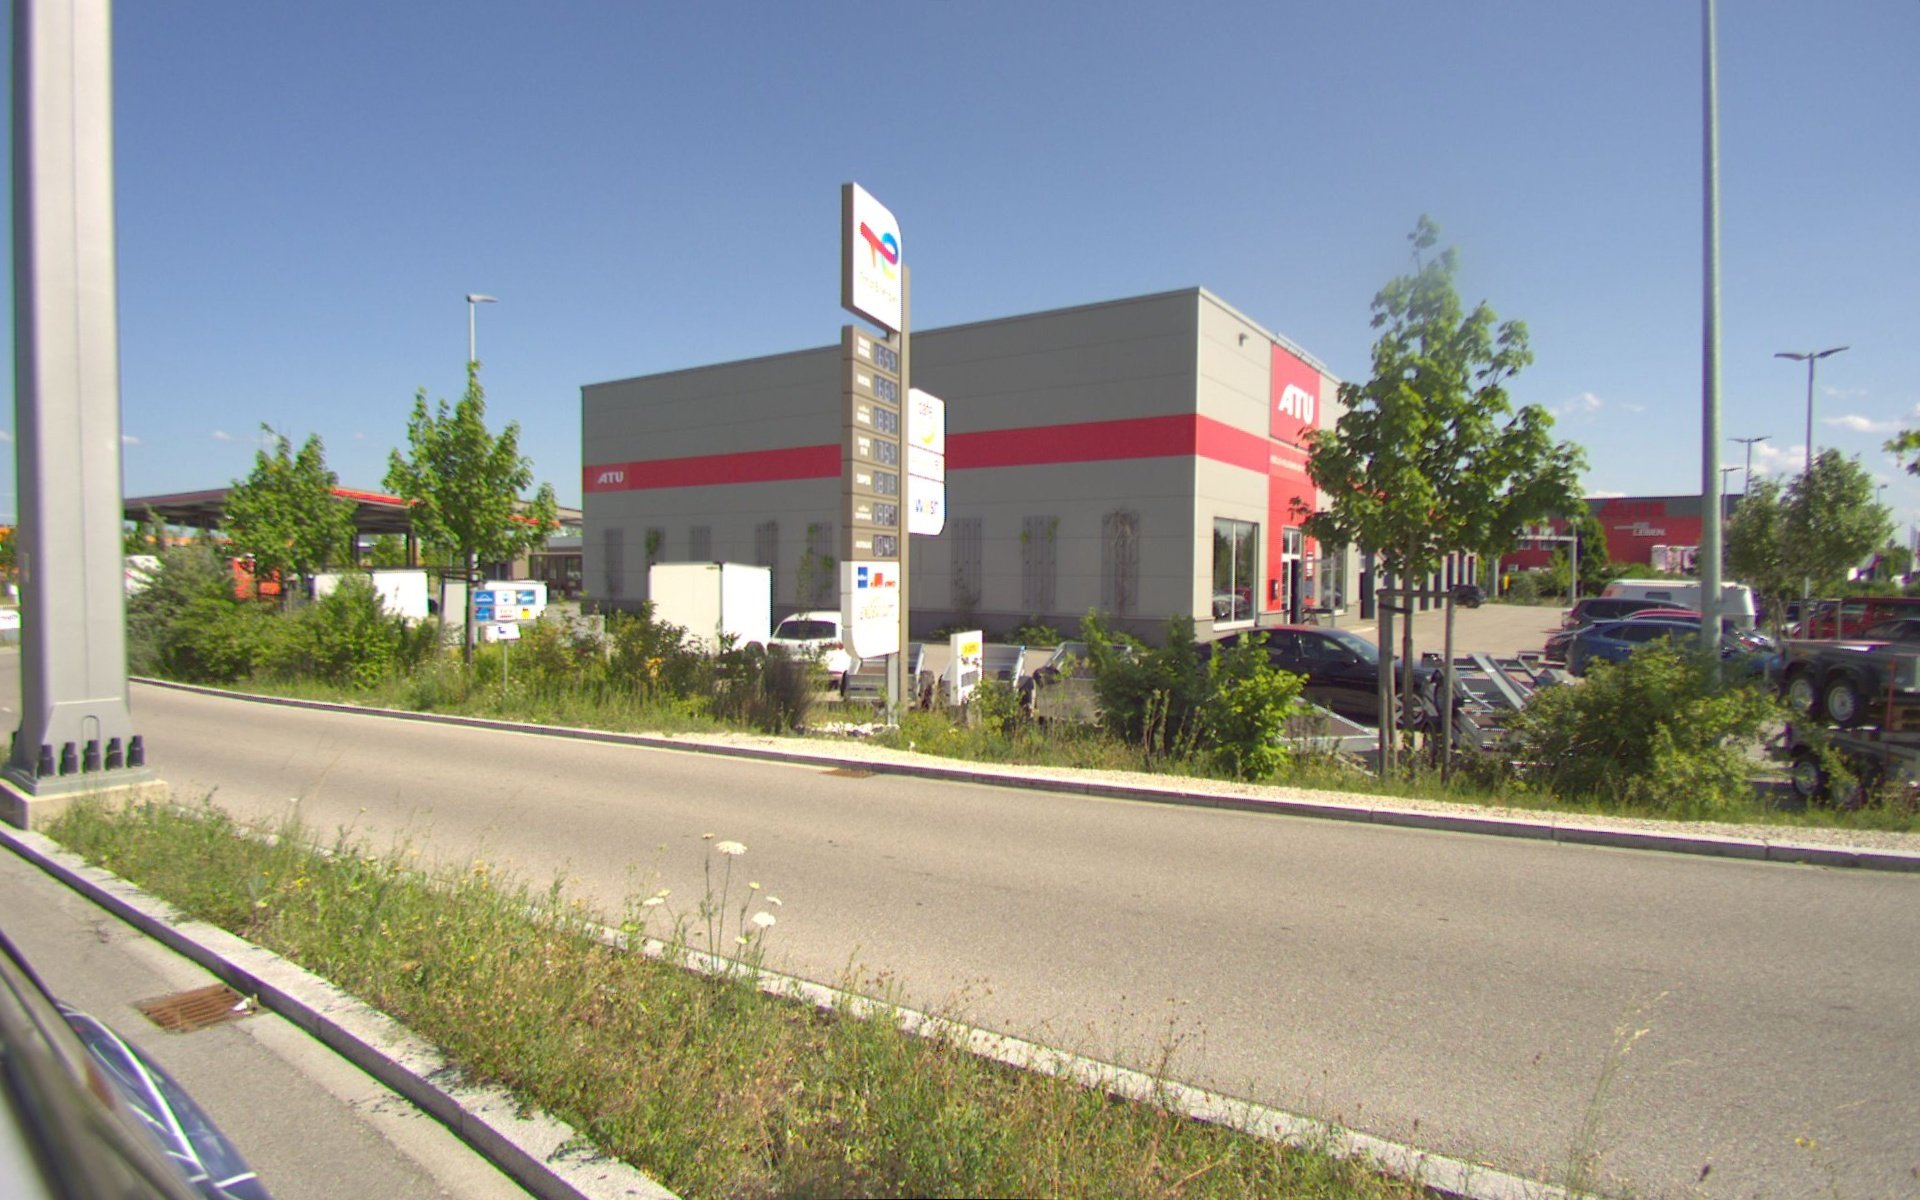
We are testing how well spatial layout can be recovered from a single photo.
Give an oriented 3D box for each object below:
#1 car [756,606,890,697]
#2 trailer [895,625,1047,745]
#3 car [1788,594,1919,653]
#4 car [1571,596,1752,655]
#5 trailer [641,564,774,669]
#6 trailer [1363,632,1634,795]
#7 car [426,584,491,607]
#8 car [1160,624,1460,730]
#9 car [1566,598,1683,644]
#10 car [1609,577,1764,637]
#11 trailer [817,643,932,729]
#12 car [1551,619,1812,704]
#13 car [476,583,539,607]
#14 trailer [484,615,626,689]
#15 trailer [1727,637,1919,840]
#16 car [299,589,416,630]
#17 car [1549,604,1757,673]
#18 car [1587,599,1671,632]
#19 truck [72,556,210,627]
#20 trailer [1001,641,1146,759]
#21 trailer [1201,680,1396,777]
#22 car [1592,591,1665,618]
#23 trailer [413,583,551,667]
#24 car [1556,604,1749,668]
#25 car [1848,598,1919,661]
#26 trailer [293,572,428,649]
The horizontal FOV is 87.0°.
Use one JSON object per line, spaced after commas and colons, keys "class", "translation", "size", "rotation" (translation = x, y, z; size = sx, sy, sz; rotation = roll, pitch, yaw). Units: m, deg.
{"class": "car", "translation": [-2.672, 0.969, 20.660], "size": [1.699, 1.547, 3.991], "rotation": [-1, 1, 8]}
{"class": "trailer", "translation": [0.264, 1.206, 15.604], "size": [1.535, 1.494, 3.174], "rotation": [-1, 1, 16]}
{"class": "car", "translation": [25.573, 0.604, 27.489], "size": [1.794, 1.475, 4.470], "rotation": [-1, 1, -21]}
{"class": "car", "translation": [19.274, 0.663, 27.903], "size": [3.995, 1.475, 1.802], "rotation": [0, 1, 38]}
{"class": "trailer", "translation": [-5.271, 0.300, 21.518], "size": [1.726, 2.029, 3.234], "rotation": [-1, 1, 6]}
{"class": "trailer", "translation": [6.786, 1.343, 13.231], "size": [1.685, 1.462, 3.695], "rotation": [-1, 4, 3]}
{"class": "car", "translation": [-36.457, -0.317, 73.669], "size": [1.791, 1.586, 3.891], "rotation": [0, 1, 34]}
{"class": "car", "translation": [5.859, 1.198, 17.223], "size": [4.491, 1.495, 1.780], "rotation": [-1, 1, 38]}
{"class": "car", "translation": [25.673, 0.768, 39.123], "size": [3.687, 1.662, 1.722], "rotation": [0, 1, 37]}
{"class": "car", "translation": [25.617, 0.225, 35.883], "size": [4.338, 2.029, 1.882], "rotation": [0, 1, 34]}
{"class": "trailer", "translation": [-1.301, 1.325, 16.241], "size": [1.305, 1.094, 2.770], "rotation": [-1, 1, 7]}
{"class": "car", "translation": [13.914, 1.121, 19.806], "size": [3.988, 1.475, 1.805], "rotation": [0, -1, 33]}
{"class": "car", "translation": [-31.391, -0.336, 70.235], "size": [1.696, 1.586, 3.634], "rotation": [0, 1, 43]}
{"class": "trailer", "translation": [-9.834, 1.221, 24.879], "size": [1.582, 1.521, 3.589], "rotation": [-1, 1, 10]}
{"class": "trailer", "translation": [10.165, 1.387, 10.450], "size": [1.784, 1.785, 3.694], "rotation": [-1, 1, 3]}
{"class": "car", "translation": [-28.796, 0.428, 48.474], "size": [1.790, 1.771, 4.471], "rotation": [0, 1, 33]}
{"class": "car", "translation": [16.580, 0.867, 24.304], "size": [3.995, 1.475, 1.802], "rotation": [0, 1, 38]}
{"class": "car", "translation": [36.476, 0.829, 55.291], "size": [3.731, 1.662, 1.725], "rotation": [0, 1, 32]}
{"class": "truck", "translation": [-41.407, -0.466, 51.462], "size": [2.598, 3.343, 6.924], "rotation": [-1, 1, -13]}
{"class": "trailer", "translation": [1.721, 1.348, 14.607], "size": [1.380, 1.332, 2.891], "rotation": [-1, 1, 21]}
{"class": "trailer", "translation": [4.408, 1.665, 13.619], "size": [1.843, 0.888, 2.834], "rotation": [-1, 1, 5]}
{"class": "car", "translation": [41.992, 0.283, 63.649], "size": [3.731, 1.662, 1.725], "rotation": [0, 1, 32]}
{"class": "trailer", "translation": [-12.173, 0.594, 25.965], "size": [1.978, 2.029, 2.728], "rotation": [-1, 1, 10]}
{"class": "car", "translation": [17.822, 0.862, 26.132], "size": [3.995, 1.475, 1.802], "rotation": [0, 1, 38]}
{"class": "car", "translation": [24.081, 0.717, 24.108], "size": [1.794, 1.475, 4.013], "rotation": [-1, 1, -21]}
{"class": "trailer", "translation": [-16.878, 0.257, 28.663], "size": [1.971, 2.029, 3.208], "rotation": [-1, 1, -2]}
